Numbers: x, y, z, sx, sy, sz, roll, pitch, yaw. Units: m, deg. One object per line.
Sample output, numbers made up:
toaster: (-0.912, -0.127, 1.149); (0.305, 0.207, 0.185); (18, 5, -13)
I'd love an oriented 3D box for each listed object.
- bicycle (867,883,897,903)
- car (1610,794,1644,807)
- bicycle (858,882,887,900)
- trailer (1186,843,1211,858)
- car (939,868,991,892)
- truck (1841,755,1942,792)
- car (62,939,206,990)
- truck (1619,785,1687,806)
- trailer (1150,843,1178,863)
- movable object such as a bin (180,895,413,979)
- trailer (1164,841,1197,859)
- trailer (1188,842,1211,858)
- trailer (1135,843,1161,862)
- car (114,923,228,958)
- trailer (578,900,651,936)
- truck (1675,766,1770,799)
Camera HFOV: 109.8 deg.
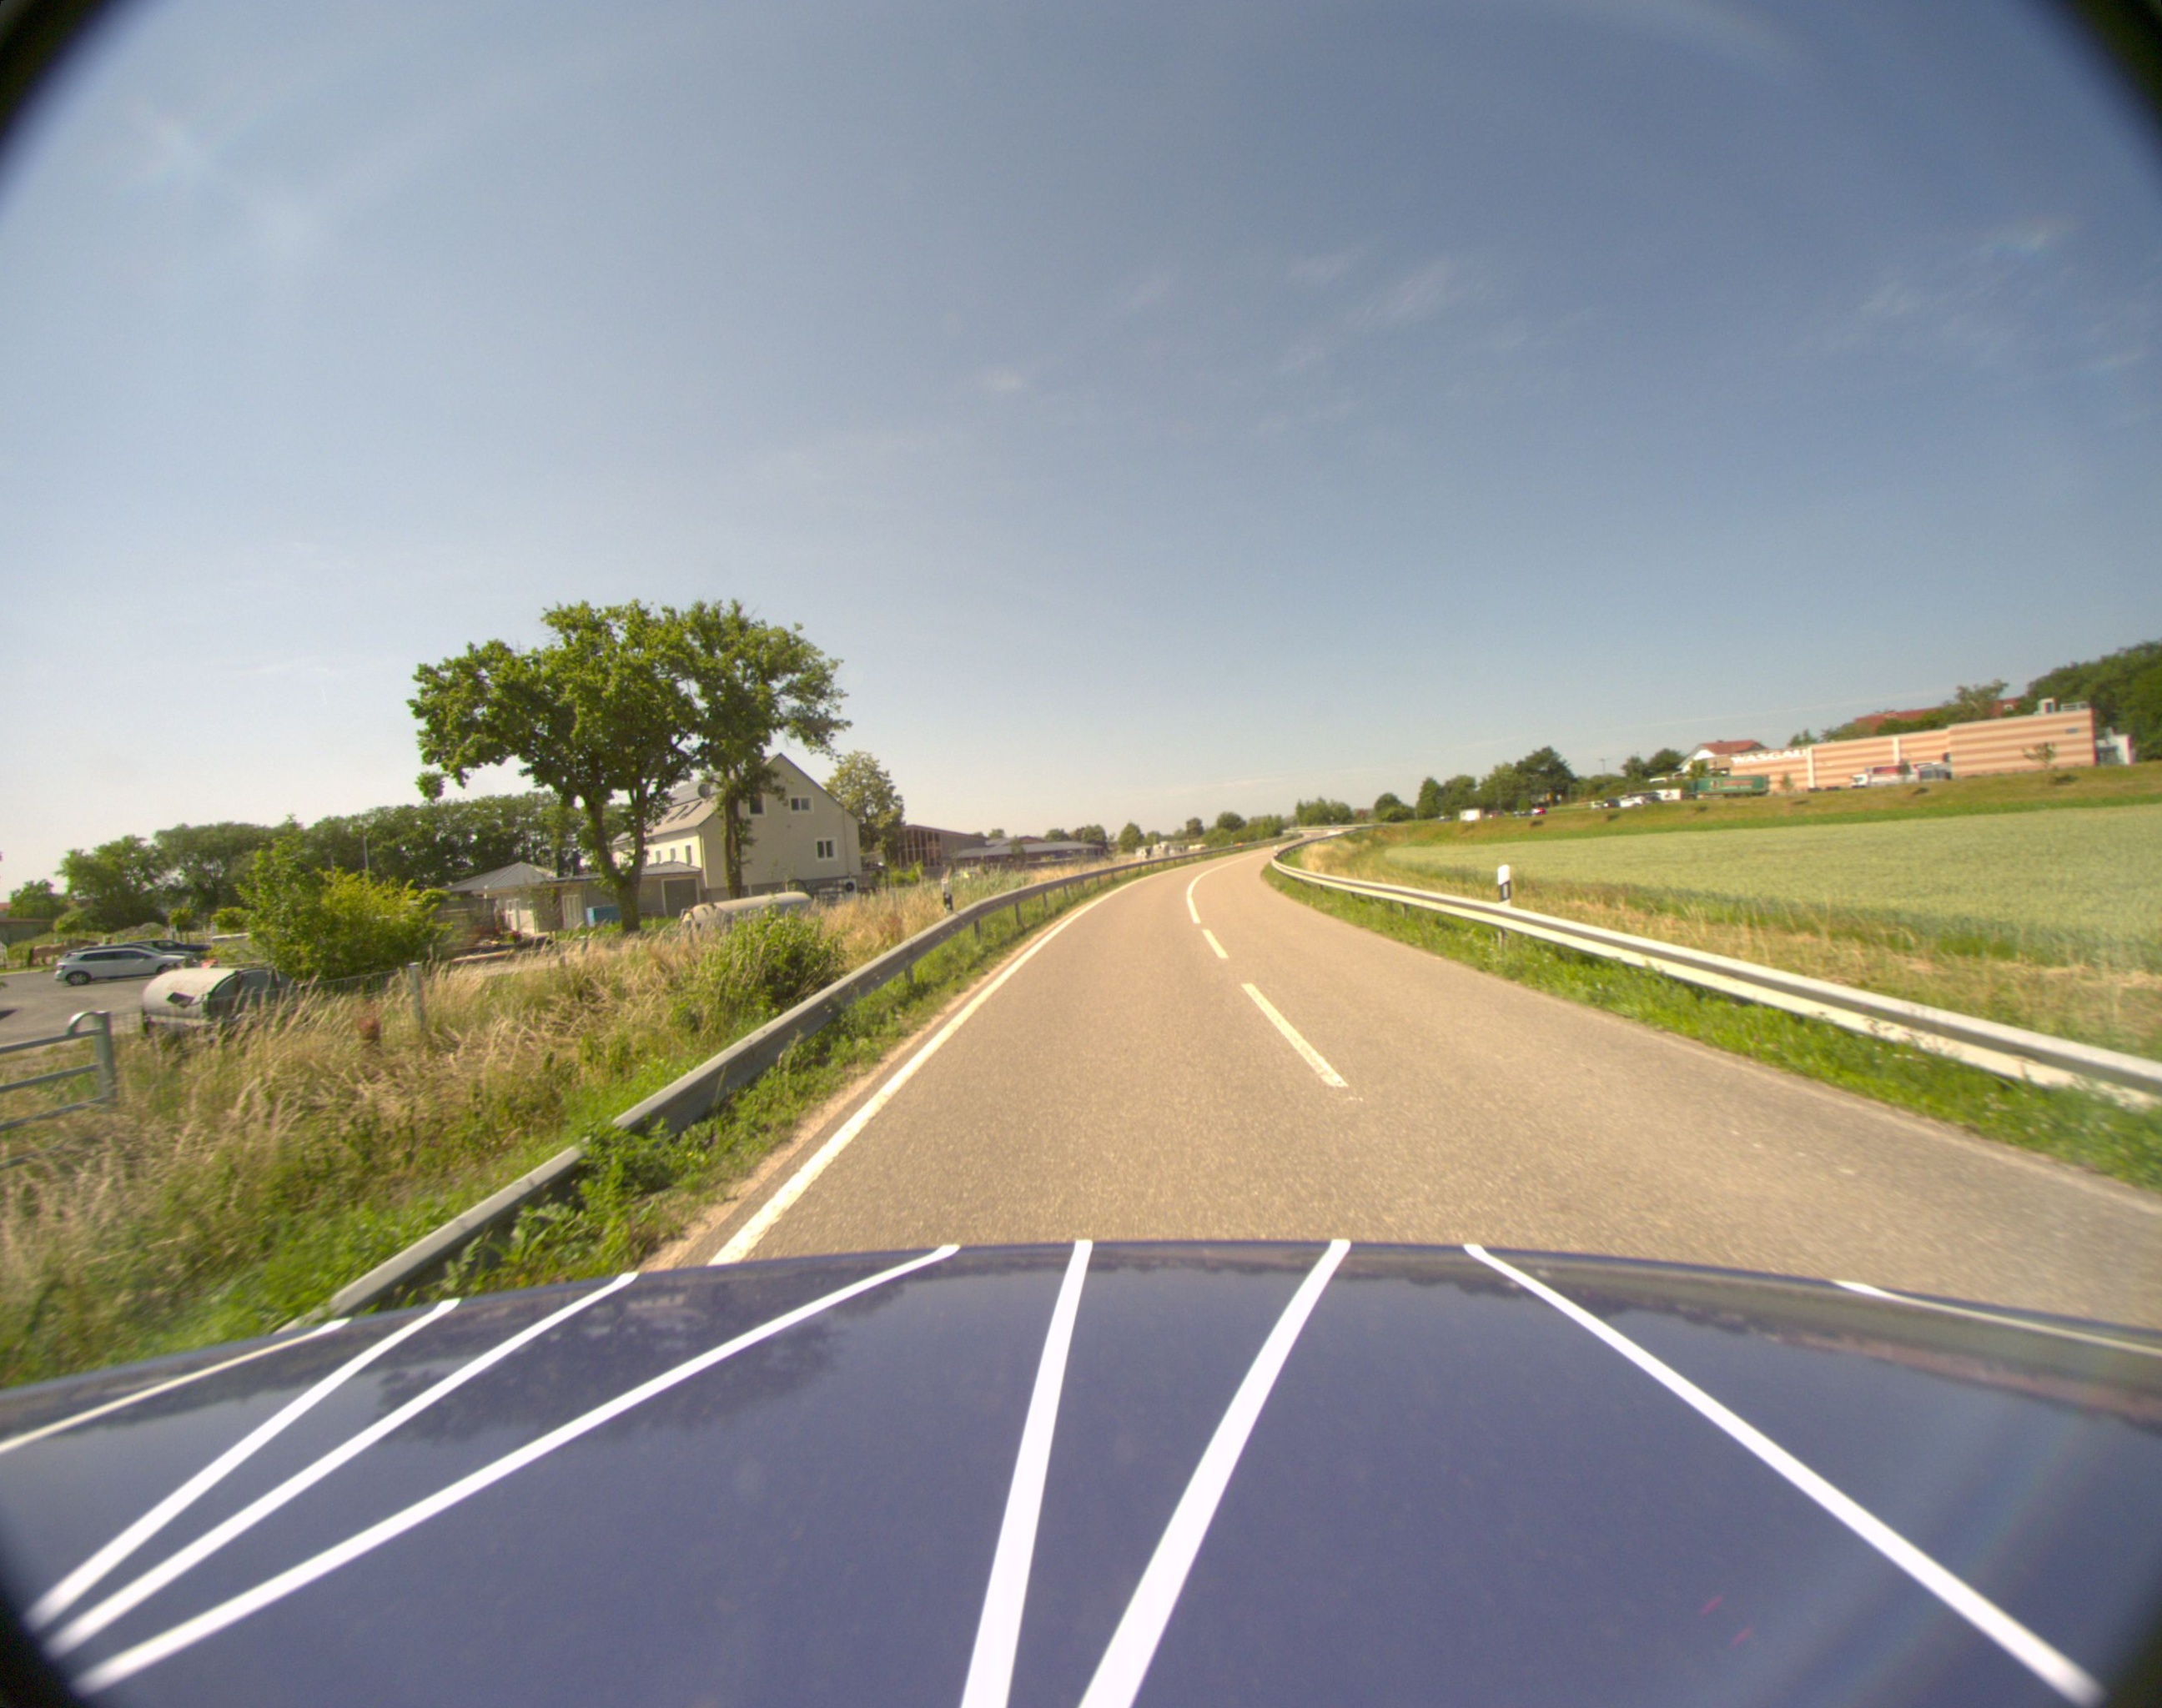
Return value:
bicycle: (-15.093, 2.959, 57.654); (1.972, 1.185, 0.713); (-10, 3, -44)
car: (93.427, -9.169, 130.005); (2.003, 1.694, 4.323); (-8, 2, -43)
bicycle: (-15.950, 2.820, 58.142); (1.973, 1.185, 0.713); (-5, 0, -44)
trailer: (21.899, -0.694, 141.337); (2.010, 2.376, 4.085); (-6, -1, -37)
car: (-9.866, 2.201, 64.468); (1.936, 1.571, 4.363); (-8, 2, -45)
truck: (106.158, -10.474, 99.690); (2.882, 3.544, 8.861); (-8, 2, -42)
car: (-42.816, 4.957, 34.503); (1.995, 1.565, 3.883); (-4, 1, 42)
truck: (116.953, -11.944, 155.513); (10.695, 3.173, 2.450); (-5, 2, 33)
trailer: (12.806, -0.107, 118.011); (2.236, 2.848, 5.037); (-4, 0, -19)
movable object such as a bin: (-34.496, 3.562, 33.707); (3.005, 2.753, 6.515); (-6, 0, 32)
trailer: (17.155, -0.603, 131.055); (2.212, 2.672, 5.175); (-5, 0, -44)
trailer: (22.729, -0.771, 145.493); (3.412, 2.789, 2.168); (-4, 2, 44)
trailer: (10.117, -0.208, 114.691); (2.176, 2.656, 4.473); (-4, 2, -19)
car: (-57.514, 5.443, 48.163); (1.995, 1.565, 4.466); (-4, 1, 42)
trailer: (-25.826, 3.524, 42.074); (3.145, 1.488, 1.712); (-8, 2, -38)
truck: (92.483, -10.280, 109.763); (2.882, 3.458, 9.919); (-8, 2, -38)
